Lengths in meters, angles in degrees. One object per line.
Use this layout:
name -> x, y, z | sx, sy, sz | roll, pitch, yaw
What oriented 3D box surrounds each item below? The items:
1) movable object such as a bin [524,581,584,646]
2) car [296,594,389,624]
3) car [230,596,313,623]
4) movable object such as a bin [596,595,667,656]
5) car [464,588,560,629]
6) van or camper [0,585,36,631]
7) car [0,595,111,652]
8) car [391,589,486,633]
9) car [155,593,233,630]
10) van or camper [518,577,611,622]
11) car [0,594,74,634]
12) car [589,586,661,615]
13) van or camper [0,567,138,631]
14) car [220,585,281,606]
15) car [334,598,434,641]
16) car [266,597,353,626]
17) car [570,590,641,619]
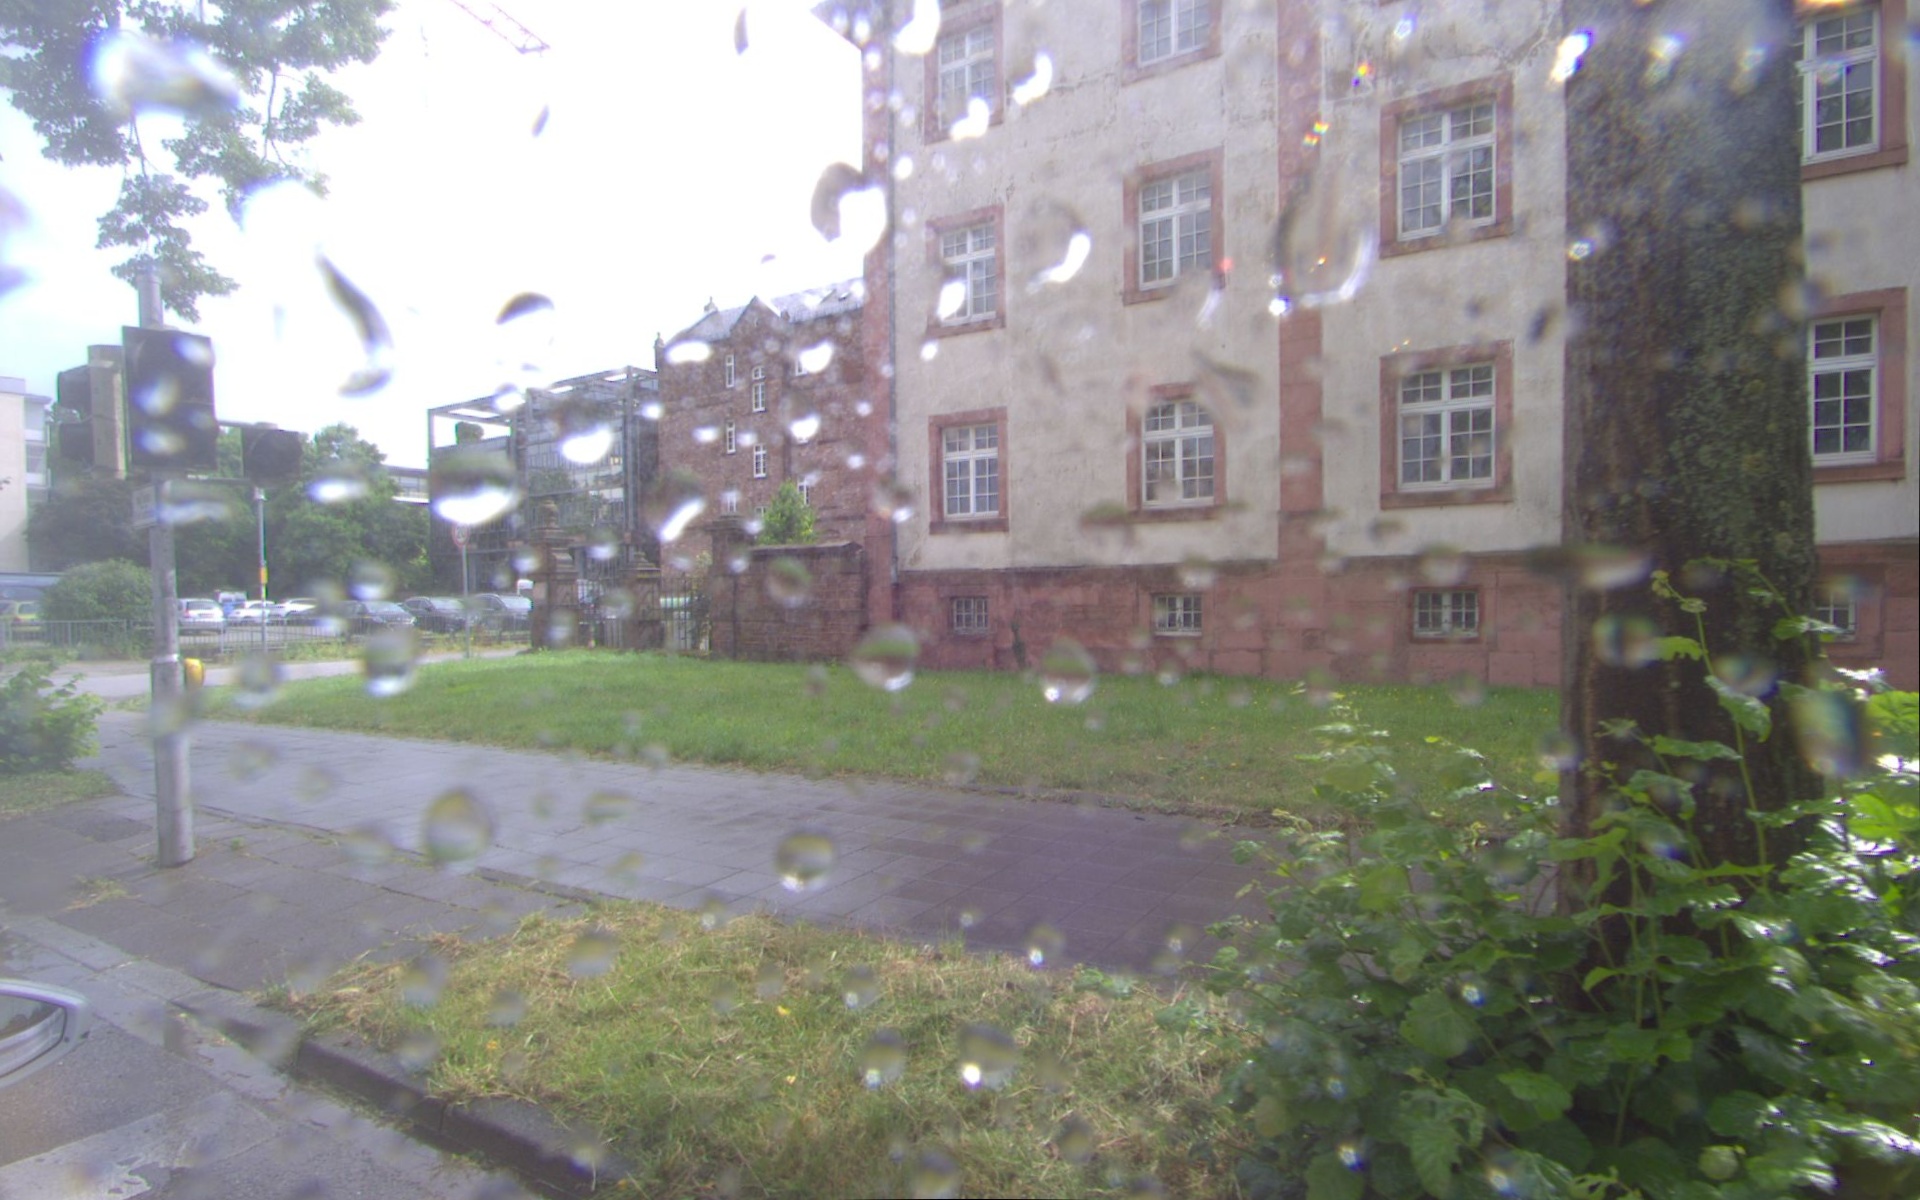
movable object such as a bin -> -9.524, 0.311, 23.477 | 1.081, 1.477, 0.797 | 0, 3, 34
car -> -33.462, 0.466, 54.317 | 1.649, 1.485, 3.962 | 0, 1, 34
car -> -40.055, 0.527, 58.338 | 1.617, 1.506, 3.654 | 0, 1, 36
movable object such as a bin -> -8.393, 0.636, 25.601 | 1.371, 1.477, 1.103 | 0, 2, 34
car -> -19.580, 0.346, 43.719 | 4.363, 1.702, 1.847 | 0, 1, 35
van or camper -> -47.158, 0.384, 47.341 | 2.291, 2.160, 4.743 | 0, 1, 36
car -> -29.888, 0.742, 33.072 | 4.180, 1.773, 1.798 | 0, 1, 35
car -> -21.383, 0.418, 41.010 | 4.368, 1.701, 1.845 | 0, 1, 39
car -> -32.985, 0.480, 43.073 | 3.669, 1.506, 1.643 | 0, 1, 36
van or camper -> -23.482, 0.024, 59.569 | 2.226, 2.518, 4.778 | -1, -2, 32
car -> -36.113, 0.542, 39.028 | 3.371, 1.468, 1.605 | 0, 1, 35
car -> -19.253, 0.053, 57.697 | 1.649, 1.505, 3.659 | 0, -3, 34
van or camper -> -38.328, -0.011, 42.437 | 2.145, 2.588, 4.986 | -1, 0, 34
car -> -50.524, -0.347, 71.317 | 1.489, 1.416, 3.214 | 0, 1, 36
car -> -22.419, 0.742, 38.901 | 4.367, 1.547, 1.822 | 0, 1, 38
car -> -35.815, 0.610, 55.170 | 1.617, 1.506, 3.654 | 0, 1, 36
car -> -20.810, 0.253, 58.883 | 1.649, 1.598, 3.656 | 0, 1, 34
